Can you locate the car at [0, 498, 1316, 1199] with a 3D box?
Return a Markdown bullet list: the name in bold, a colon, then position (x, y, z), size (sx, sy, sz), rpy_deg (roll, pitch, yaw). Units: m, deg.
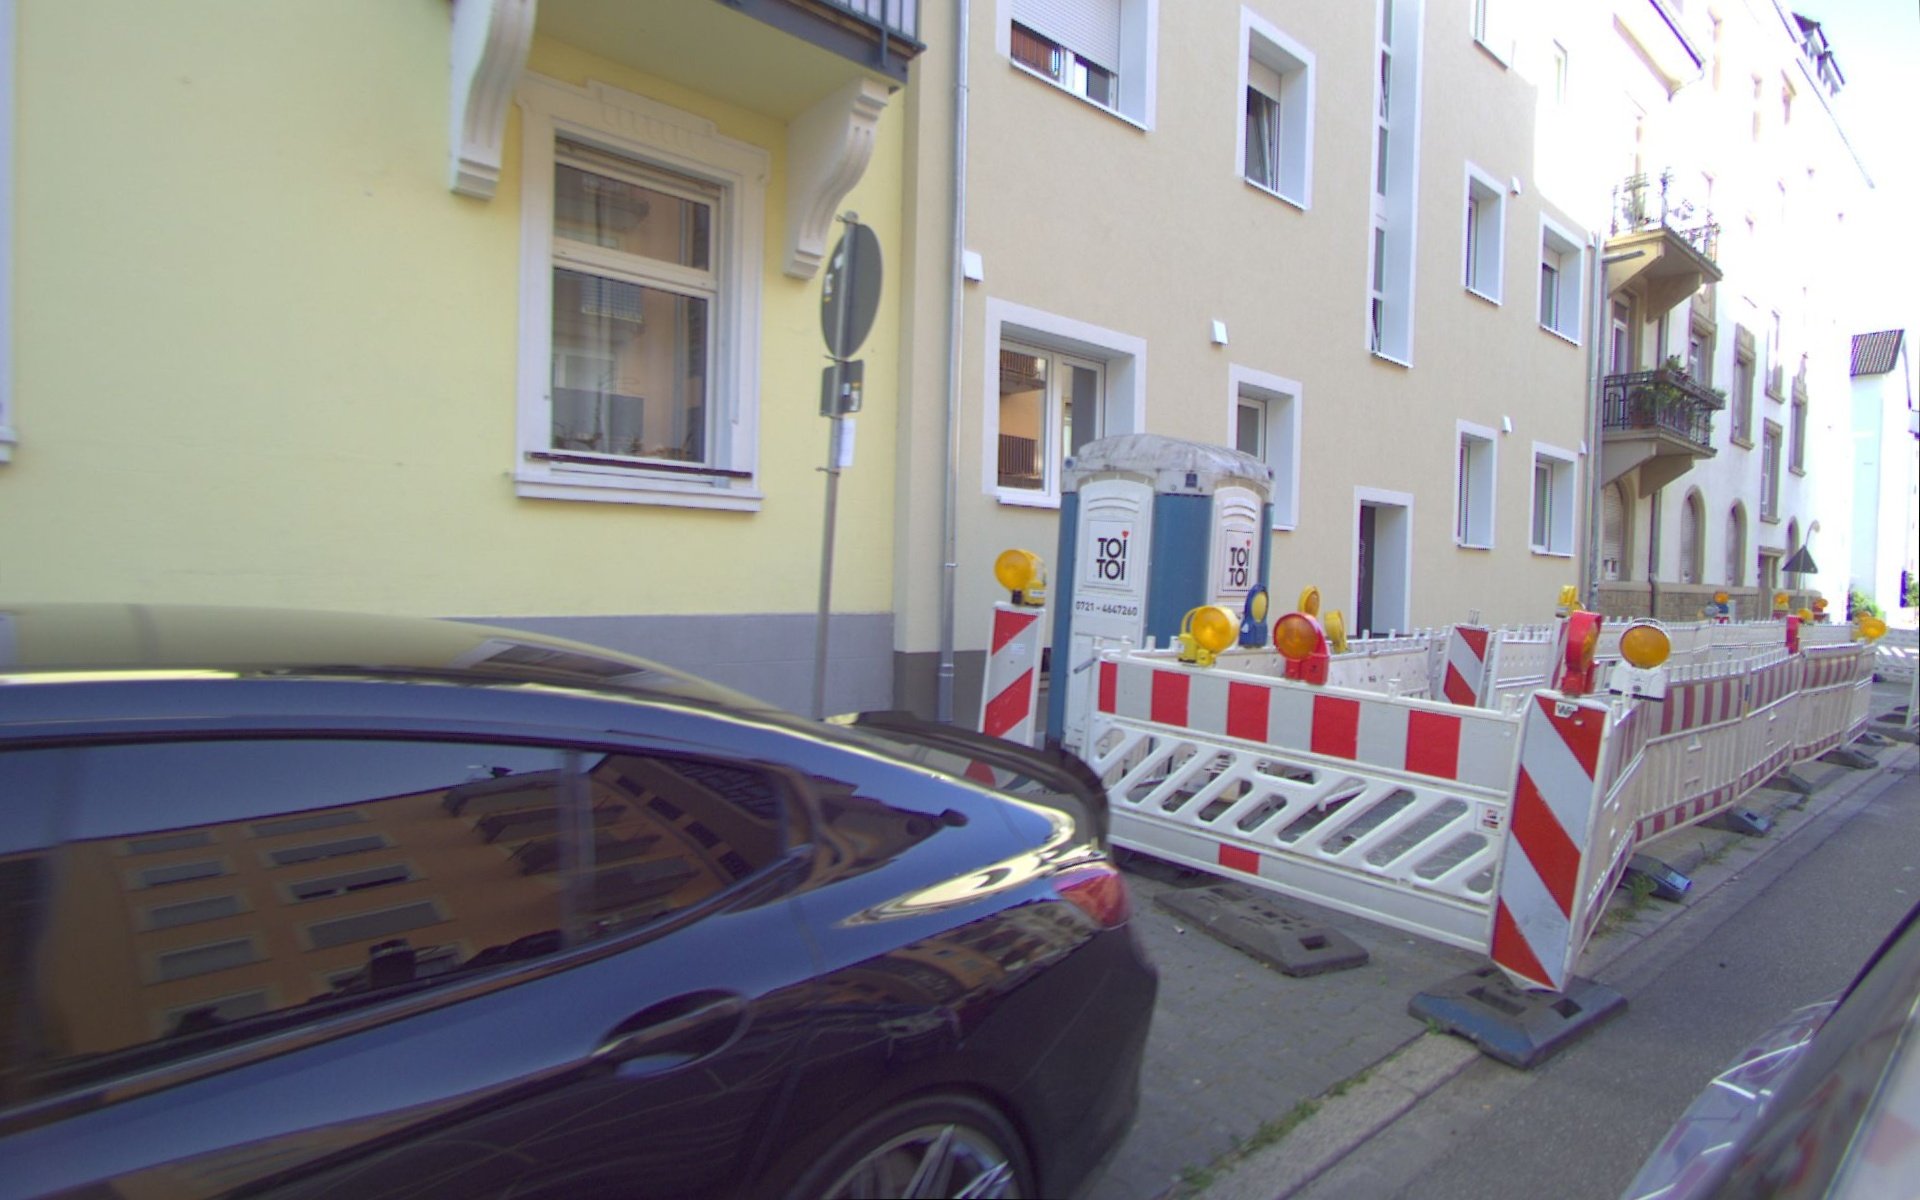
- **car**: position (-1.670, 0.595, 1.351), size (5.024, 1.488, 1.805), rpy_deg (0, 4, -42)
